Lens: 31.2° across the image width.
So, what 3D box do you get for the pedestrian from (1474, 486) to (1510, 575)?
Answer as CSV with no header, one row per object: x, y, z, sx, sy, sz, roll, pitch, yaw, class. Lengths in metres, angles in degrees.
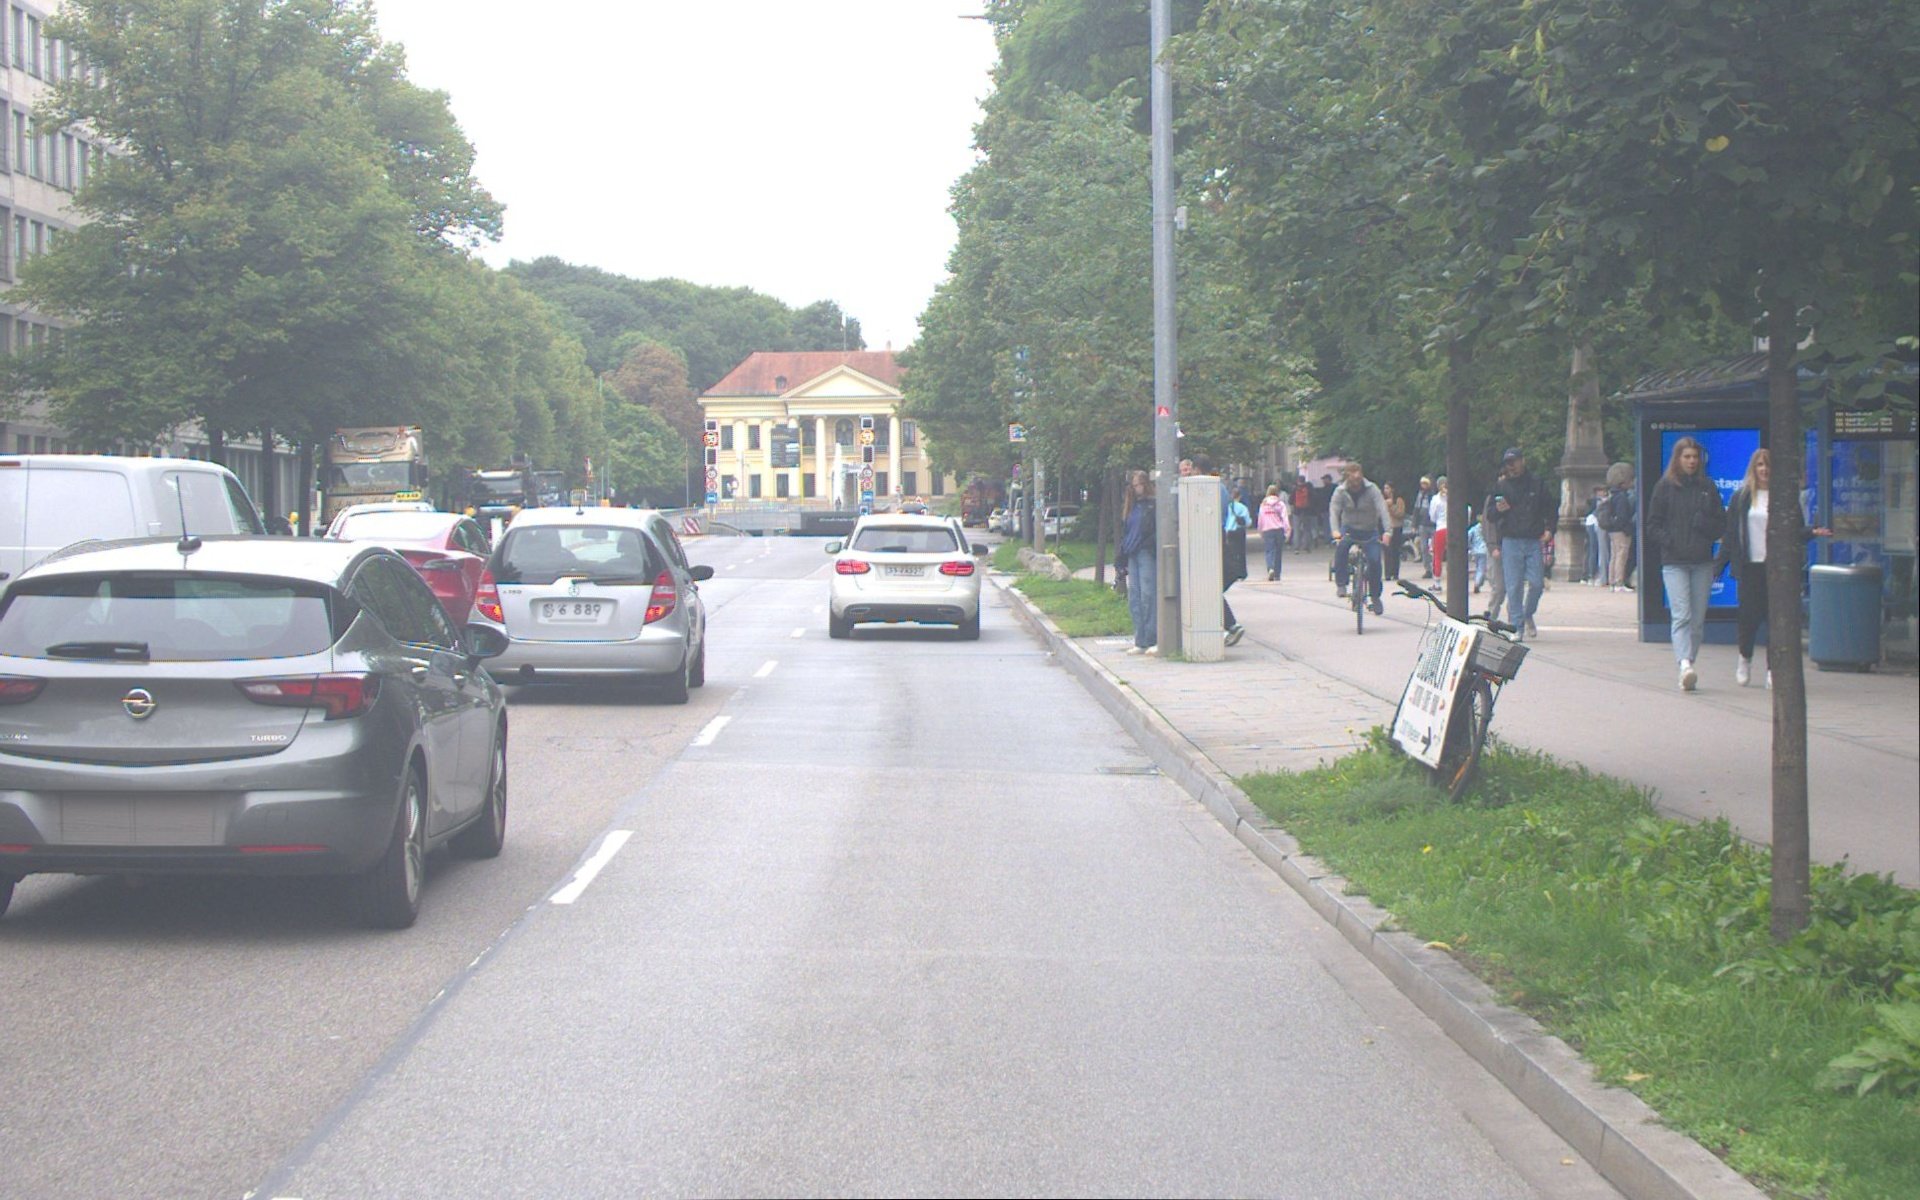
7.987,-1.048,51.592,0.458,1.322,0.648,1,2,4,pedestrian

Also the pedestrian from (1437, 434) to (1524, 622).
5.046,-0.704,33.354,0.708,1.802,0.639,1,2,-1,pedestrian

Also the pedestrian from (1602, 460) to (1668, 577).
9.980,-1.210,50.834,0.812,1.685,0.729,-2,2,2,pedestrian

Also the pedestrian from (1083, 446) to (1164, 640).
1.539,-0.547,32.452,0.708,1.802,0.639,1,2,-1,pedestrian

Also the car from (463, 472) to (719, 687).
-3.011,-0.230,28.763,1.779,1.648,4.001,1,2,-1,car

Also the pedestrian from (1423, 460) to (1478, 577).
7.175,-1.191,50.285,0.726,1.685,0.648,1,2,5,pedestrian

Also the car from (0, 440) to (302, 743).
-5.896,-0.120,23.545,1.898,1.841,4.956,-1,2,-1,car

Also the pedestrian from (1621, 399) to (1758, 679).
5.083,-0.432,24.005,0.708,1.908,0.956,1,2,-1,pedestrian

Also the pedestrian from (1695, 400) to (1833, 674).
5.714,-0.456,24.476,0.708,1.908,0.956,1,2,-1,pedestrian

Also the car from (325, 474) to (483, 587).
-9.287,-1.205,57.783,1.857,1.742,4.630,-2,2,0,car

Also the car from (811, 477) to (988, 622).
-0.778,-0.651,41.304,1.779,1.639,4.001,1,2,-6,car

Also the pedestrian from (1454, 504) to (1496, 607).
7.682,-0.670,51.275,0.549,1.522,0.648,1,2,4,pedestrian

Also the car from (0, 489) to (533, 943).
-2.849,0.339,13.943,1.710,1.546,4.000,1,2,0,car

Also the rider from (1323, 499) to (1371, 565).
6.676,-1.187,59.345,0.765,1.108,1.244,1,2,4,rider

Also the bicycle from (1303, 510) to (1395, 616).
3.965,-0.397,35.152,0.675,1.027,2.013,1,2,-1,bicycle

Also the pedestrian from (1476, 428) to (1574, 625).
5.265,-0.695,32.076,0.708,1.802,0.950,1,2,-1,pedestrian

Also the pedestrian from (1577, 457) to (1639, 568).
10.060,-1.356,53.381,0.812,1.685,0.729,-2,2,2,pedestrian

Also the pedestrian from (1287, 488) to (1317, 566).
8.000,-1.714,80.460,0.588,1.816,0.850,1,2,0,pedestrian

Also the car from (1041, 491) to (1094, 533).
4.029,-3.326,129.388,1.827,1.544,4.752,-1,2,0,car

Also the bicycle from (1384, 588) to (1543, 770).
2.485,0.371,17.119,0.493,0.791,1.890,1,2,0,bicycle

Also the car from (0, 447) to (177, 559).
-21.234,-2.252,79.767,5.679,2.527,2.157,-1,2,-4,car

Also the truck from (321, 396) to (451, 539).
-15.885,-3.676,95.590,2.915,3.761,7.668,1,2,-5,truck

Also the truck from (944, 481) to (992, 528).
0.549,-7.035,251.542,3.325,3.355,8.663,1,2,-1,truck

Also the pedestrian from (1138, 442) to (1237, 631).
2.300,-0.649,34.720,0.805,1.874,0.543,2,2,36,pedestrian

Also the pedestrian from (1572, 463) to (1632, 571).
10.148,-1.314,54.367,0.812,1.685,0.729,1,2,2,pedestrian

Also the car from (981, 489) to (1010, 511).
2.201,-6.249,214.313,1.724,1.319,4.028,-1,2,0,car

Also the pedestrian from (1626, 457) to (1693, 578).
10.178,-1.201,50.033,0.812,1.733,0.729,1,2,2,pedestrian

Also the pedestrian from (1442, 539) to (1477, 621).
10.333,-0.414,71.077,0.632,1.661,0.572,1,2,15,pedestrian

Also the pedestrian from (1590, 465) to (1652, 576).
10.108,-1.223,52.593,0.812,1.685,0.729,0,2,2,pedestrian

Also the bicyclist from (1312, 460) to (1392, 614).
3.997,-0.648,35.117,0.708,1.556,0.639,1,2,-1,bicyclist

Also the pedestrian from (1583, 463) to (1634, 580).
9.393,-1.141,49.780,0.591,1.685,0.729,1,2,2,pedestrian

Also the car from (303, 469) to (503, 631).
-6.024,-0.586,37.542,1.779,1.648,4.001,1,2,-4,car
